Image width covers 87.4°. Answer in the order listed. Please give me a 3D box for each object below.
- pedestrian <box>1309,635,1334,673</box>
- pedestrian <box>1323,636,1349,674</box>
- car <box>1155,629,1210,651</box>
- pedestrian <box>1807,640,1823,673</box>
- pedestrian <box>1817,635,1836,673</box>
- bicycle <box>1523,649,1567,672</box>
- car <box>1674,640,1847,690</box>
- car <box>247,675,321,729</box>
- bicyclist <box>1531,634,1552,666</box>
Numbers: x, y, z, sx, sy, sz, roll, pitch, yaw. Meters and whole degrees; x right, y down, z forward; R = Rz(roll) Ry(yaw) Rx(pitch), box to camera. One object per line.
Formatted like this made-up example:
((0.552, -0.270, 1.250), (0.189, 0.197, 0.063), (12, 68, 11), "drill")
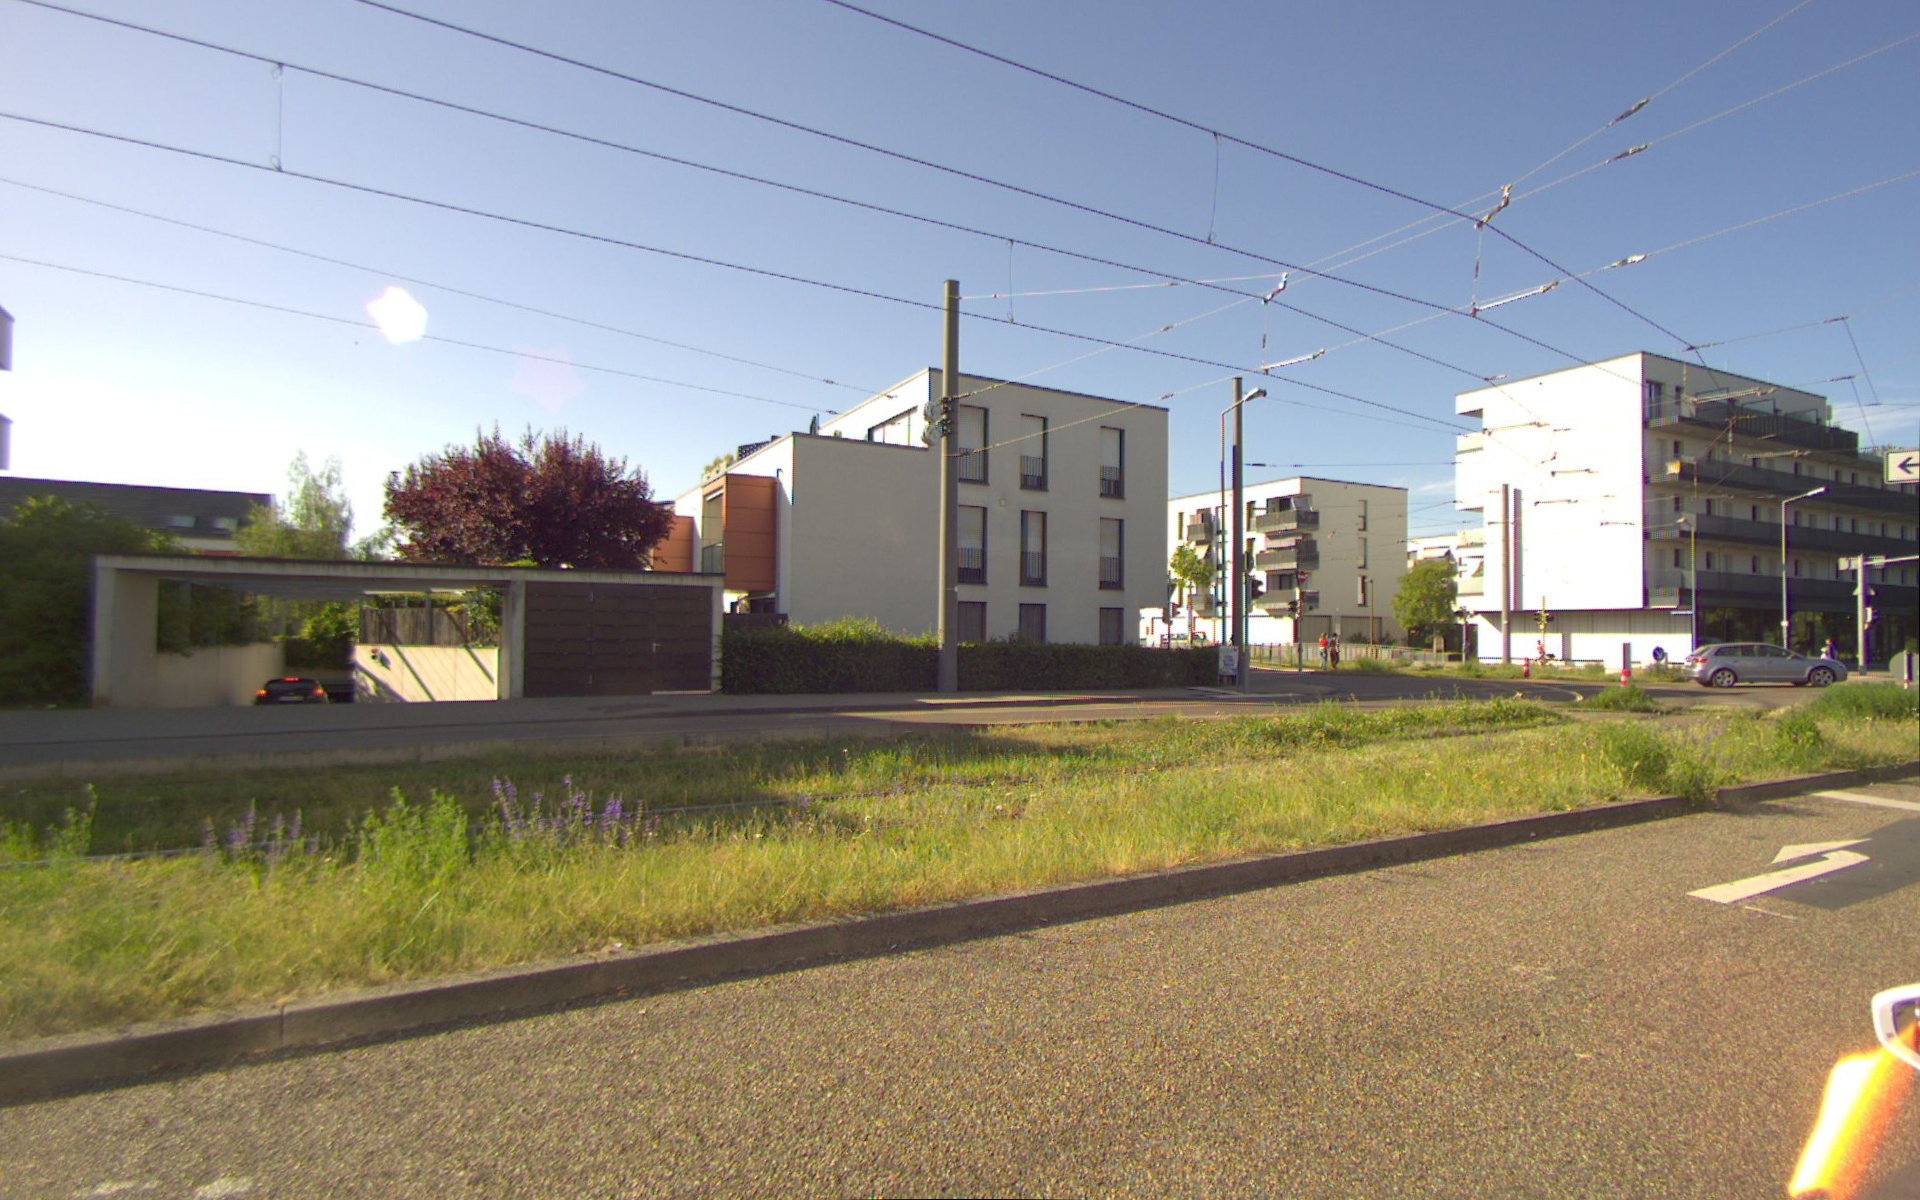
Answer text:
((16.334, 2.436, 45.414), (0.735, 1.626, 0.766), (2, 0, -35), "pedestrian")
((16.739, 2.445, 44.725), (0.735, 1.626, 0.766), (2, 0, -35), "pedestrian")
((17.761, 3.187, 80.323), (1.974, 1.595, 4.309), (2, 0, -27), "car")
((40.721, 2.688, 47.854), (0.513, 1.523, 0.438), (2, 0, -35), "pedestrian")
((41.339, 2.570, 47.923), (0.513, 1.767, 0.539), (2, 0, -35), "pedestrian")
((31.028, 3.193, 53.331), (1.823, 1.139, 0.823), (2, 0, 5), "bicycle")
((25.914, 2.088, 32.694), (4.031, 1.505, 1.869), (0, -2, 23), "car")
((-18.554, 2.833, 27.640), (1.560, 1.344, 3.966), (2, -7, -33), "car")
((30.860, 2.648, 53.311), (0.628, 1.635, 0.785), (2, 0, 6), "bicyclist")
